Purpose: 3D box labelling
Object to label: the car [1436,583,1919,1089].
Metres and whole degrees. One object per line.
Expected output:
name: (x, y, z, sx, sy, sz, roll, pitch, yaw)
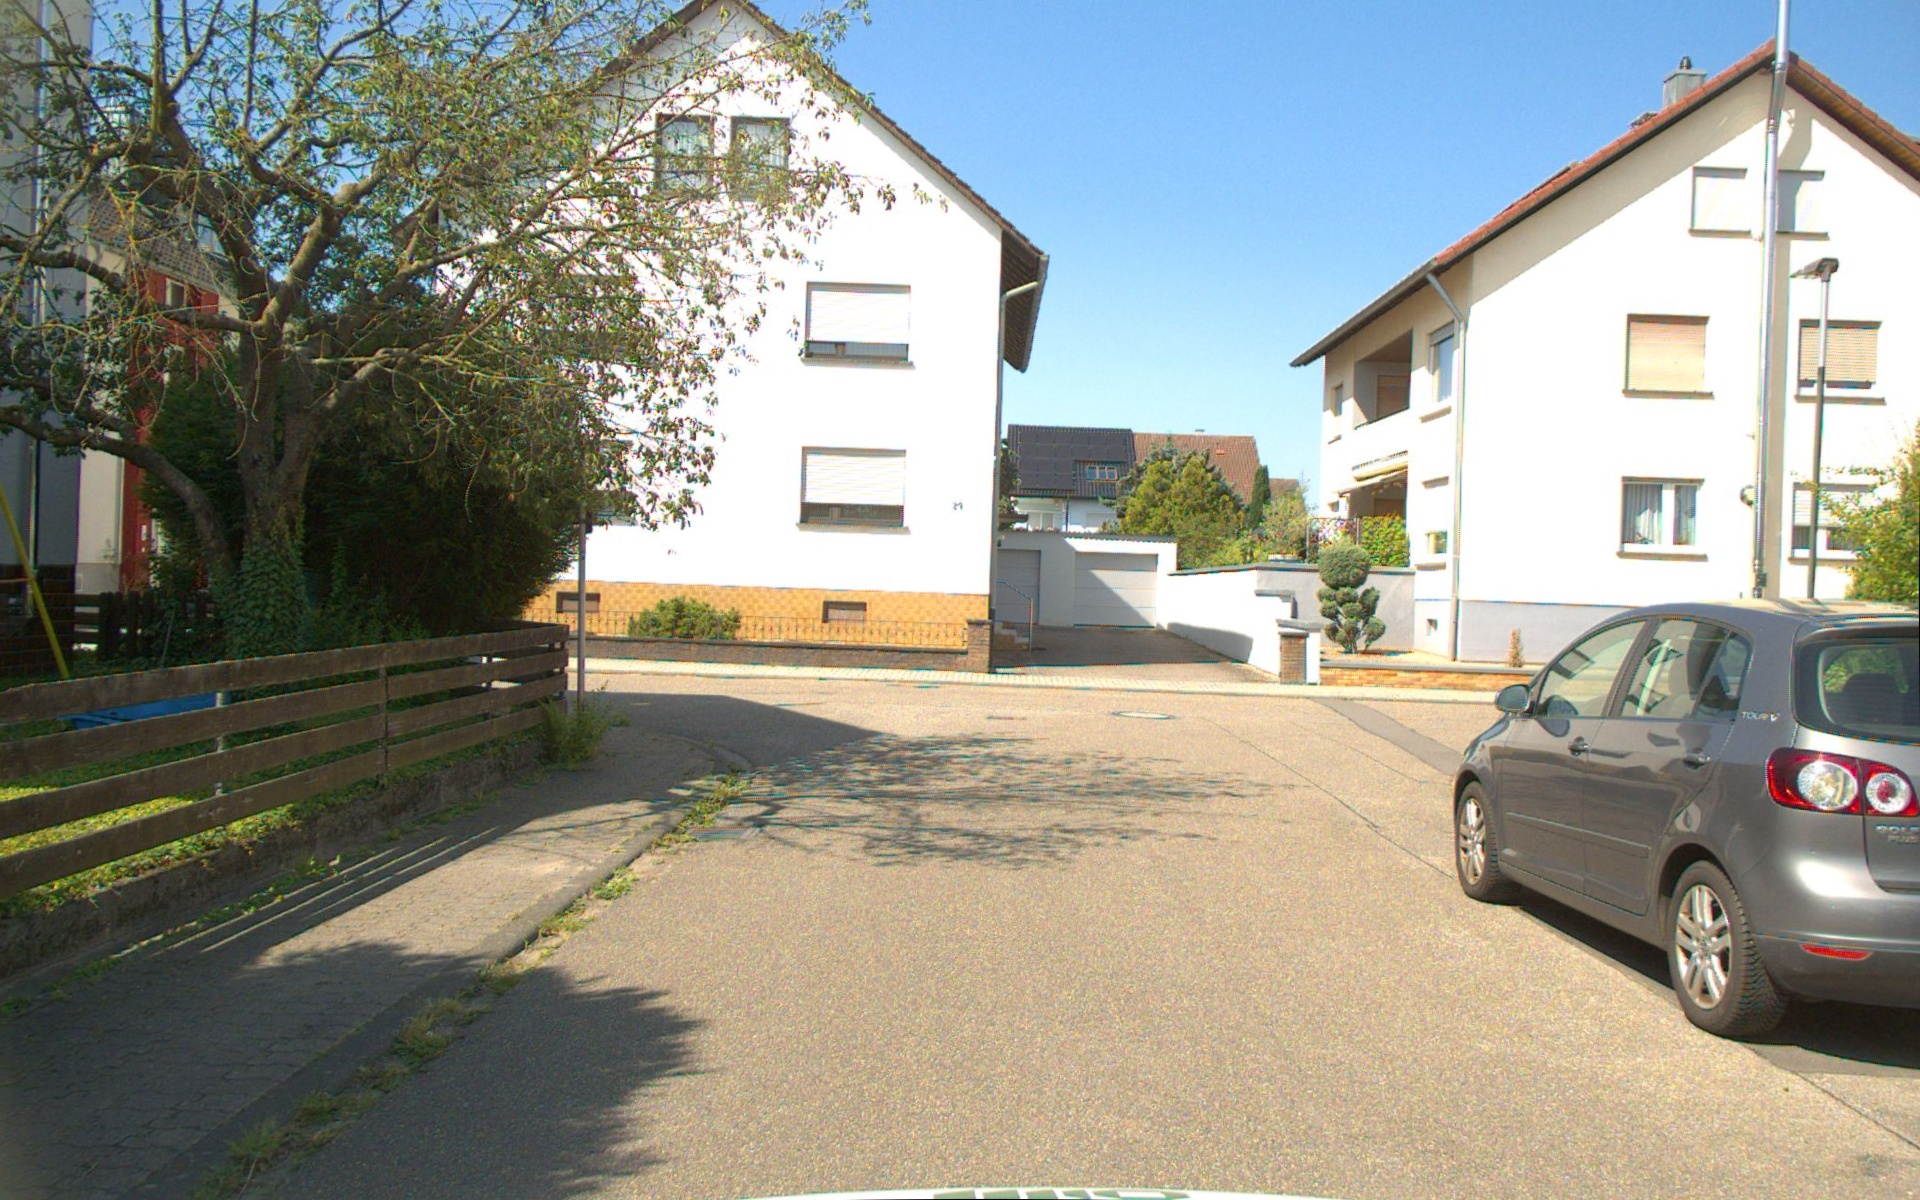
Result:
car: (3.532, 0.767, 7.256, 1.612, 1.572, 4.047, 4, 1, -1)
